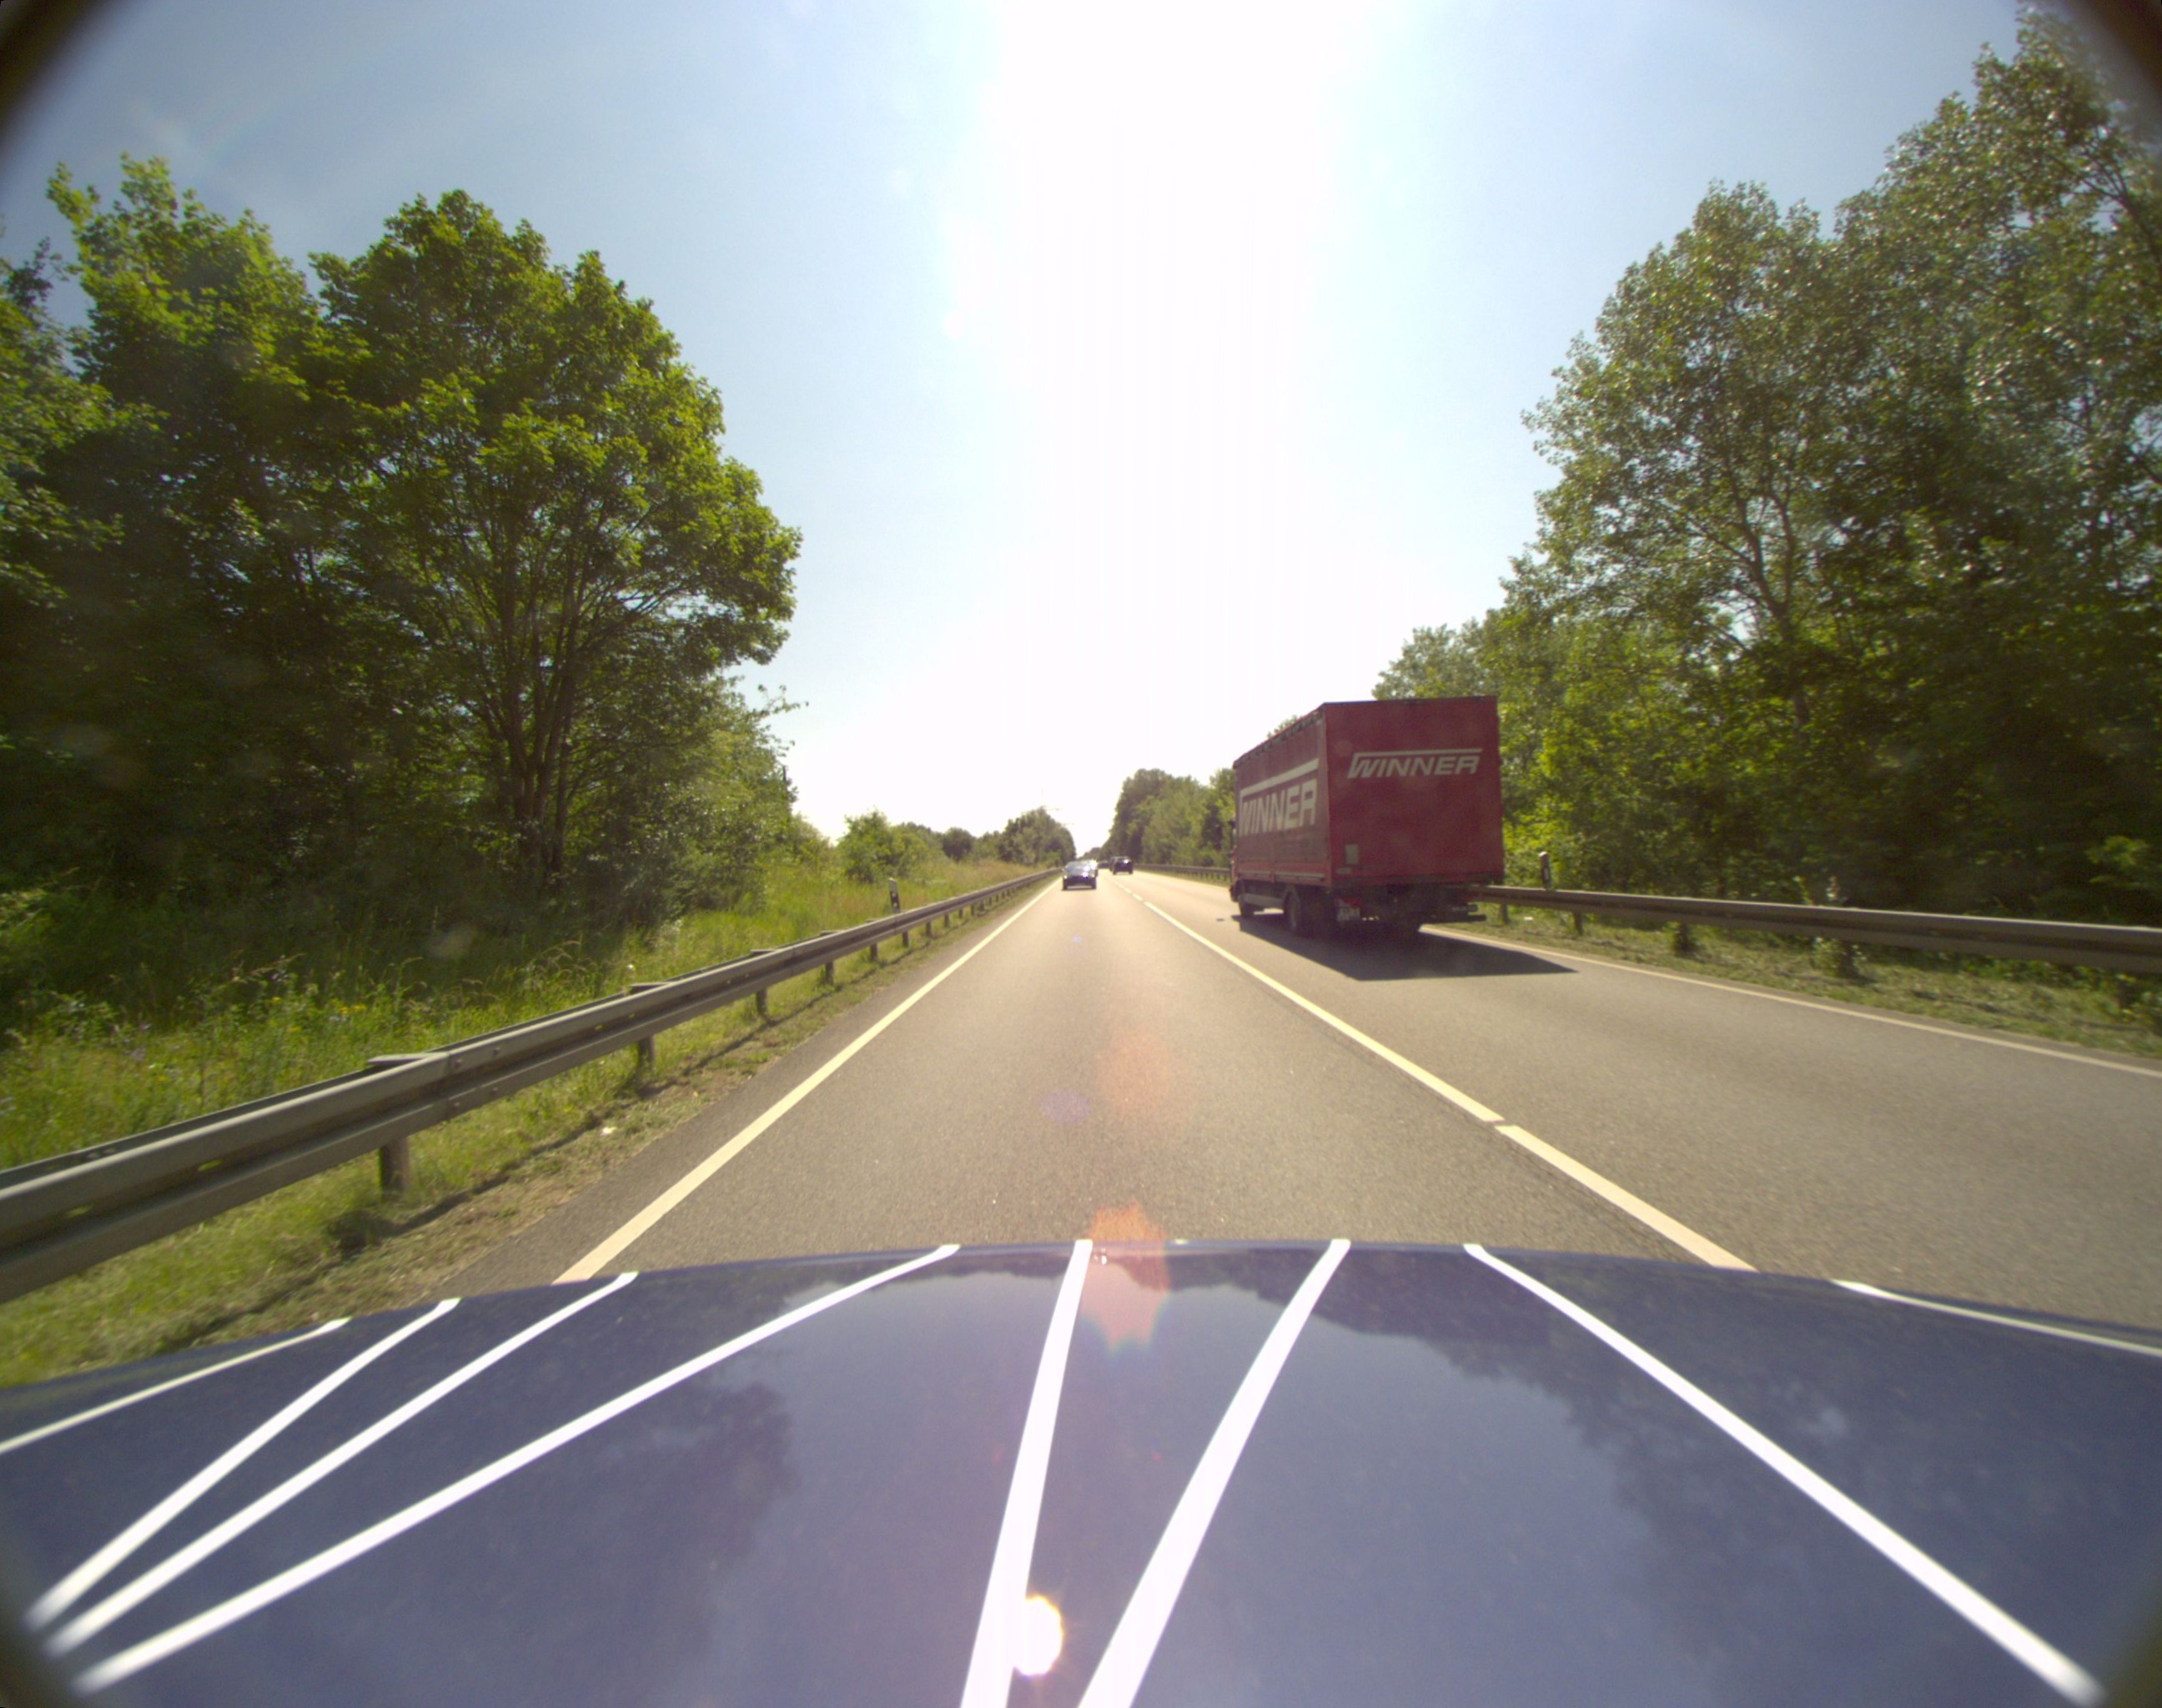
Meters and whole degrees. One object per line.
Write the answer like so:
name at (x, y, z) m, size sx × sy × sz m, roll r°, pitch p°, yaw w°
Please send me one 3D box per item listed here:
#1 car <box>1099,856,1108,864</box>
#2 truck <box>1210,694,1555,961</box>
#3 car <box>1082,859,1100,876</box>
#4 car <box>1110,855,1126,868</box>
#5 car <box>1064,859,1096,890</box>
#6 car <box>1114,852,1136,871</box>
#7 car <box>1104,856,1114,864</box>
car at (4.988, 1.334, 168.206) m, size 1.762 × 1.532 × 3.806 m, roll -2°, pitch 0°, yaw 0°
truck at (5.069, -0.376, 15.321) m, size 3.200 × 3.678 × 9.005 m, roll -2°, pitch 0°, yaw -1°
car at (0.862, 1.193, 67.769) m, size 1.443 × 1.443 × 3.297 m, roll -2°, pitch 1°, yaw -1°
car at (4.675, 0.954, 95.597) m, size 1.762 × 1.532 × 3.806 m, roll -2°, pitch 0°, yaw 0°
car at (-0.029, 0.985, 38.331) m, size 1.529 × 1.387 × 3.443 m, roll -1°, pitch 1°, yaw 0°
car at (4.118, 0.701, 71.758) m, size 1.762 × 1.694 × 4.000 m, roll -2°, pitch 0°, yaw 0°
car at (5.418, 1.173, 147.217) m, size 1.762 × 1.532 × 3.806 m, roll -2°, pitch 0°, yaw 0°
